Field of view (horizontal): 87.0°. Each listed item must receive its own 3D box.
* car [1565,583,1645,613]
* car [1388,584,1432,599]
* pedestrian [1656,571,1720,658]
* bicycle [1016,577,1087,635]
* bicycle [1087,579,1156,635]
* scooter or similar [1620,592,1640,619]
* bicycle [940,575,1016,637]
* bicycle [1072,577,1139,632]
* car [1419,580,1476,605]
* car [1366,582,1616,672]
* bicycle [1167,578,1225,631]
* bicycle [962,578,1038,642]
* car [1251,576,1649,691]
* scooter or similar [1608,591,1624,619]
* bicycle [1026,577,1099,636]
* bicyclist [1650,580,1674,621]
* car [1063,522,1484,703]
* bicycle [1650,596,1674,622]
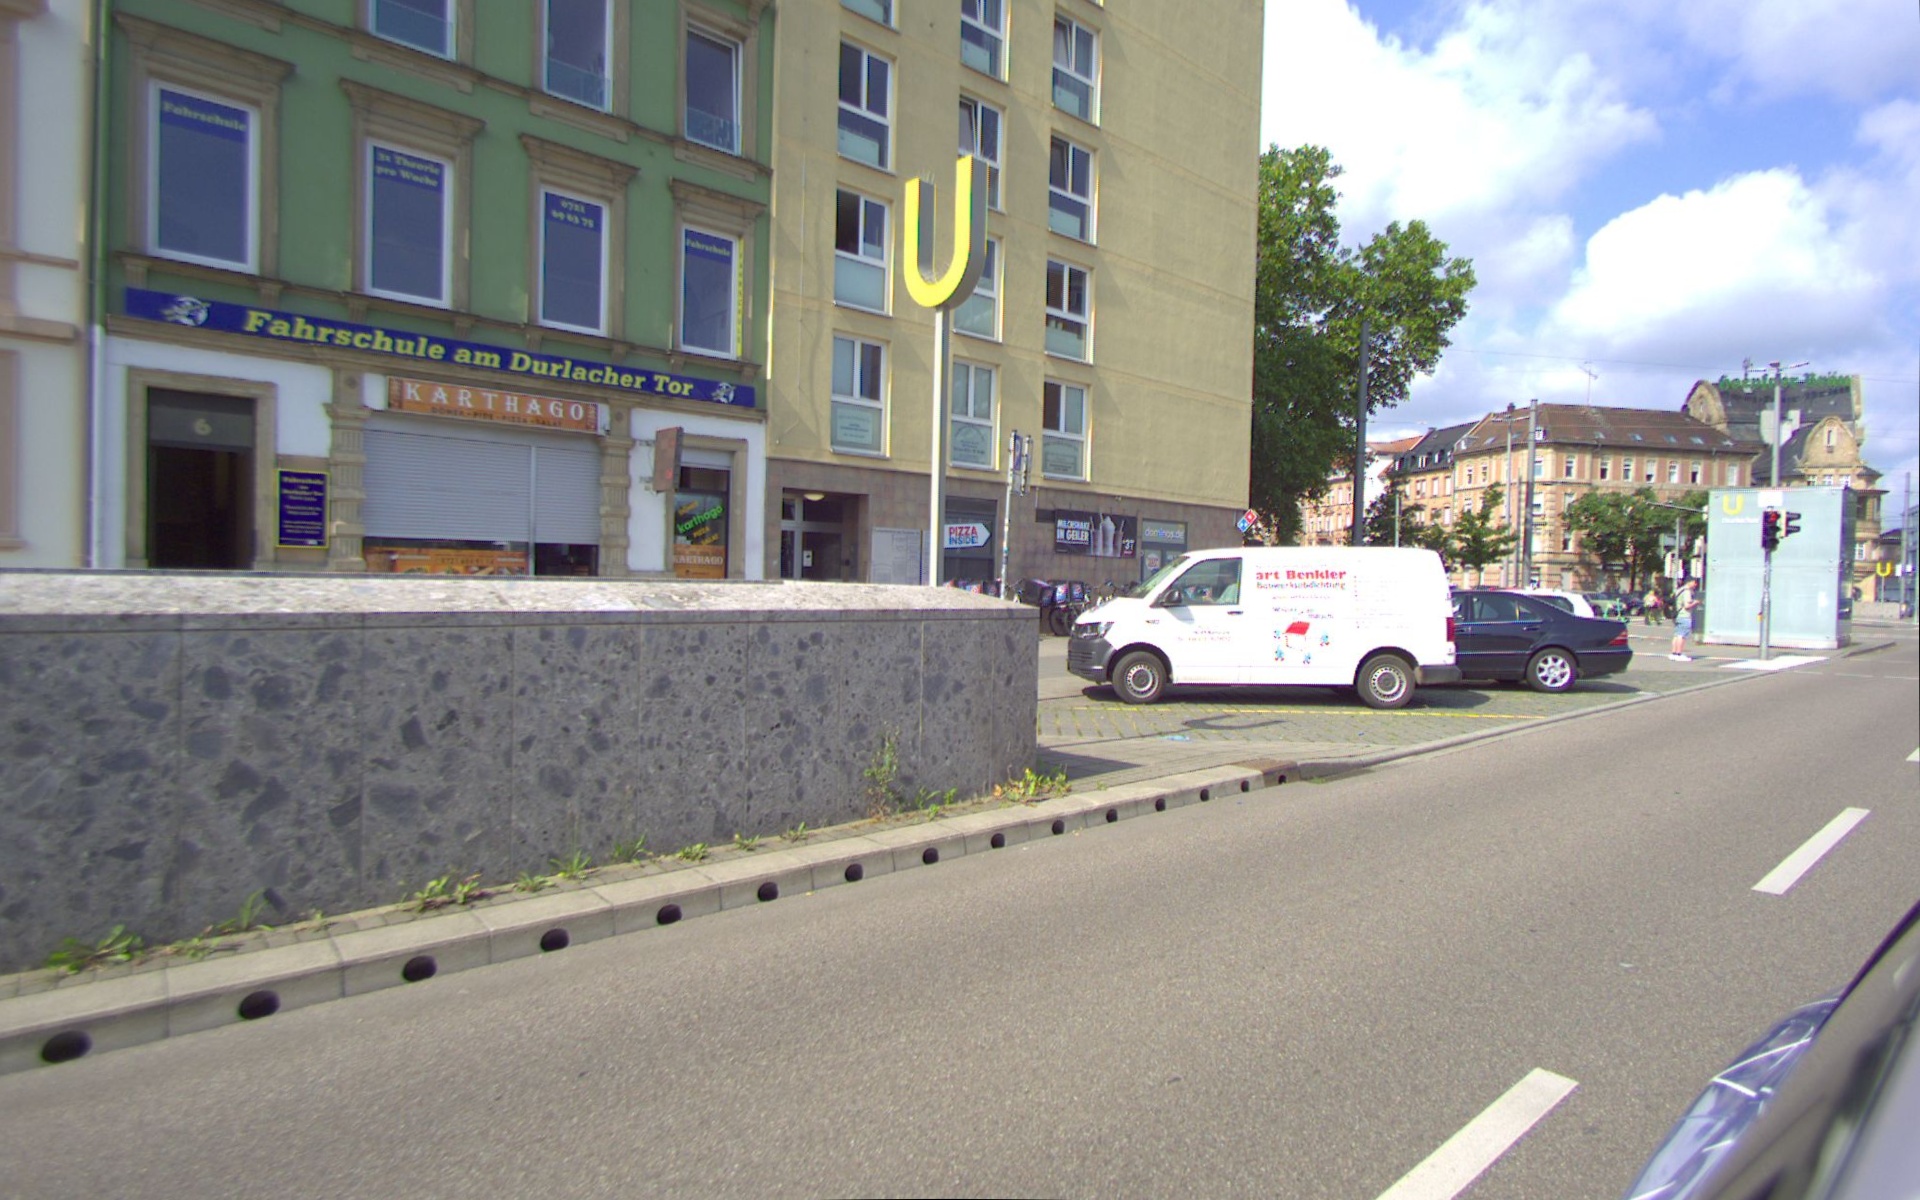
[{"bbox_3d":[38.327,-0.147,60.222,1.789,1.531,4.007,-3,3,-8],"label":"car"},{"bbox_3d":[46.284,-0.909,104.160,1.649,1.464,4.240,-2,1,-21],"label":"car"},{"bbox_3d":[15.657,0.300,21.788,0.985,1.781,0.779,-1,3,26],"label":"pedestrian"},{"bbox_3d":[2.025,0.122,22.239,1.614,1.216,0.488,0,2,-36],"label":"bicycle"},{"bbox_3d":[3.661,0.151,22.868,1.614,1.216,0.549,0,2,-36],"label":"bicycle"},{"bbox_3d":[29.416,0.233,44.442,0.375,1.172,0.927,1,2,10],"label":"scooter or similar"},{"bbox_3d":[0.378,0.118,20.743,1.617,1.216,0.487,0,2,-41],"label":"bicycle"},{"bbox_3d":[3.367,0.097,23.347,1.614,1.216,0.488,0,2,-36],"label":"bicycle"},{"bbox_3d":[35.840,-0.573,74.464,1.960,1.570,4.006,-1,3,-5],"label":"car"},{"bbox_3d":[9.089,0.426,17.587,3.454,1.458,1.715,0,1,9],"label":"car"},{"bbox_3d":[6.012,0.110,25.769,1.614,1.288,0.488,0,2,-36],"label":"bicycle"},{"bbox_3d":[0.817,0.193,20.338,1.617,1.216,0.487,0,2,-41],"label":"bicycle"},{"bbox_3d":[7.101,0.430,15.207,4.979,1.487,1.887,1,2,8],"label":"car"},{"bbox_3d":[28.838,0.223,44.496,0.377,1.172,0.923,2,2,22],"label":"scooter or similar"},{"bbox_3d":[2.206,0.137,21.696,1.614,1.216,0.488,0,2,-36],"label":"bicycle"},{"bbox_3d":[32.200,0.007,46.425,0.707,1.765,0.819,5,4,32],"label":"bicyclist"},{"bbox_3d":[3.790,0.131,13.058,4.812,2.111,2.077,1,0,5],"label":"car"},{"bbox_3d":[32.255,0.413,46.512,0.784,1.141,1.969,2,2,33],"label":"bicycle"}]
